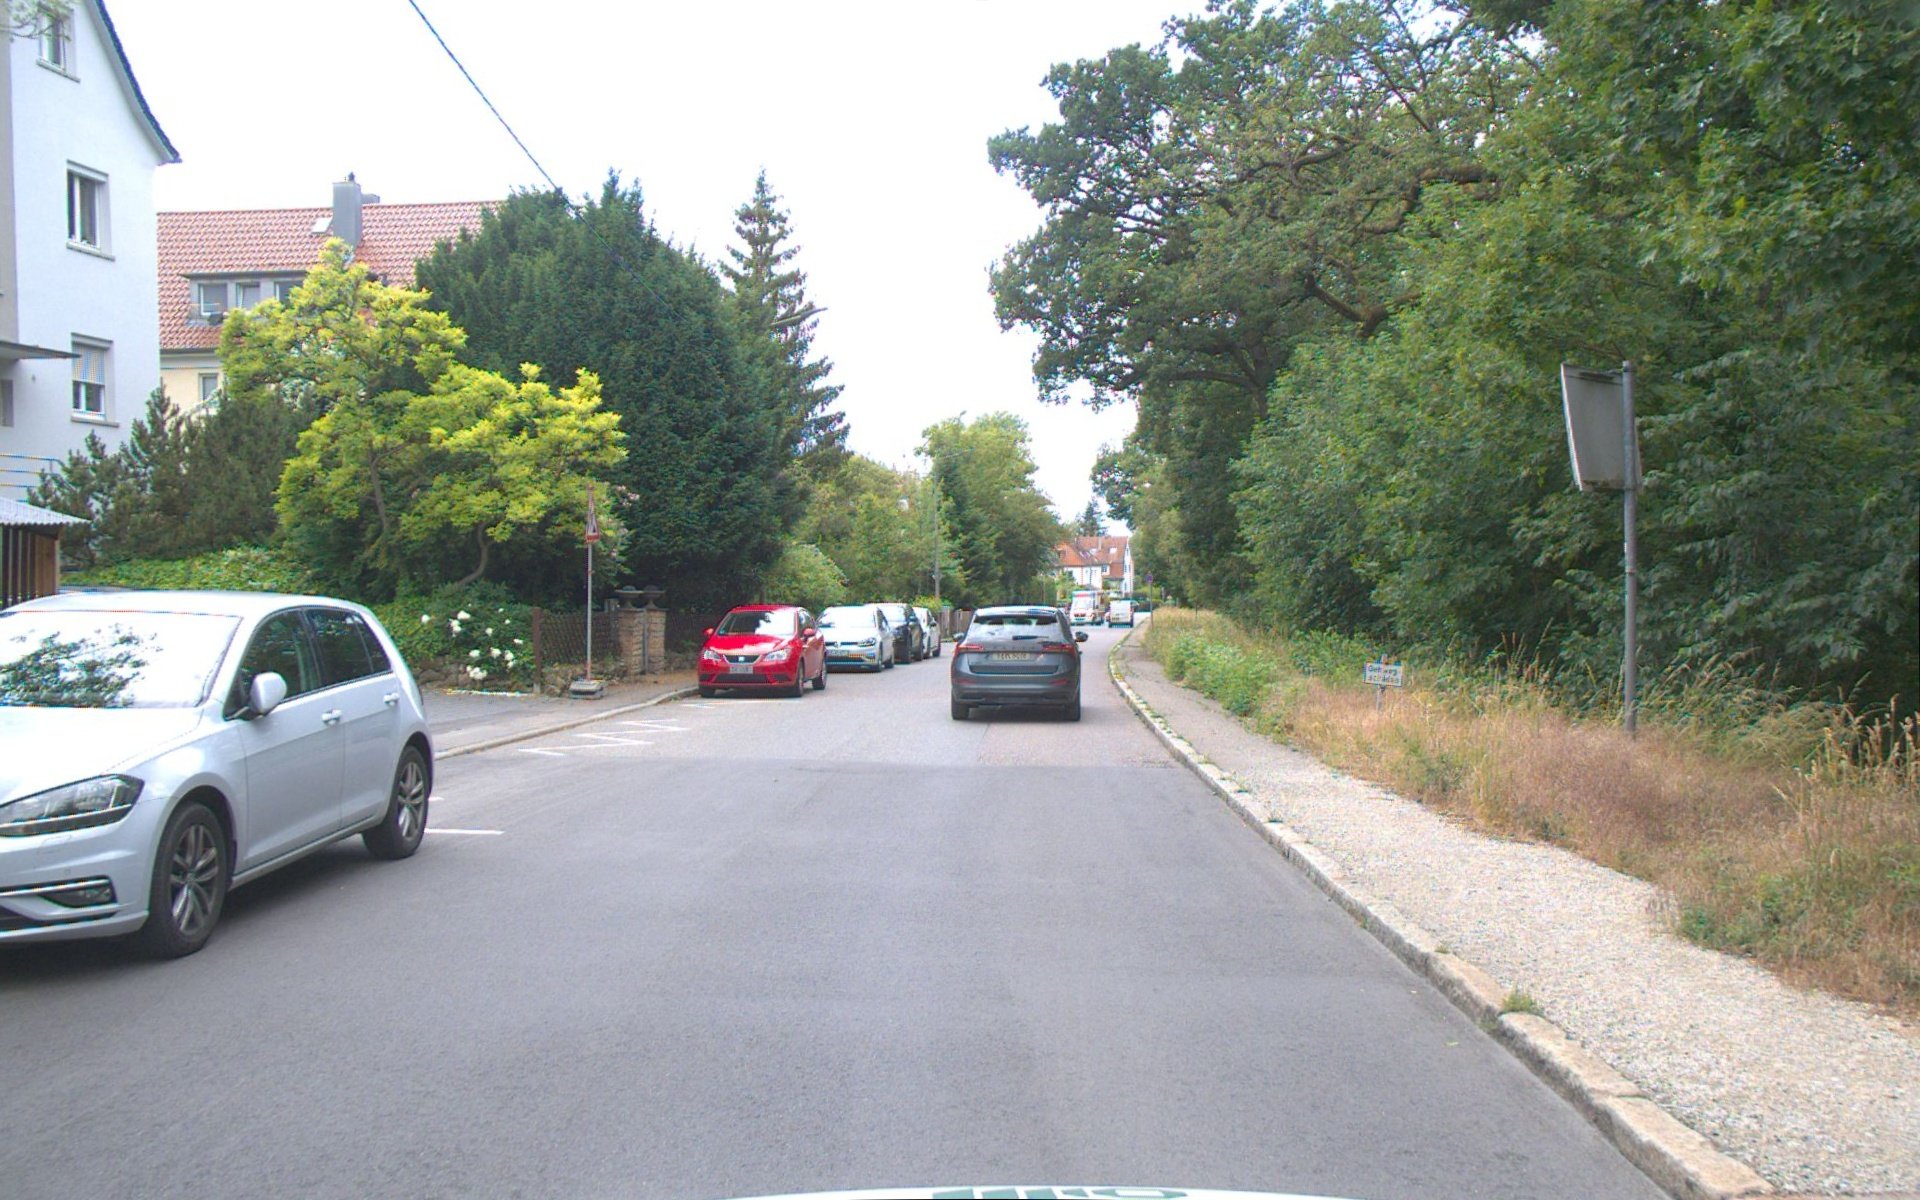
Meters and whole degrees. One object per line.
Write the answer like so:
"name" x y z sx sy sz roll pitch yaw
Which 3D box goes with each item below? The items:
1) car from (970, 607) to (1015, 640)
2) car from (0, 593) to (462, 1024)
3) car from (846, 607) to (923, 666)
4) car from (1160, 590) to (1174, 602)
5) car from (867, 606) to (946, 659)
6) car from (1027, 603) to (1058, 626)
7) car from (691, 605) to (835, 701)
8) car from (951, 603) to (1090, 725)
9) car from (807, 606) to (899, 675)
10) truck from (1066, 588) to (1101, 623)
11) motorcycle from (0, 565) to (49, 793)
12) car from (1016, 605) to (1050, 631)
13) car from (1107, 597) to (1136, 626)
"car" 1.513 1.037 75.542 1.712 1.429 4.003 1 0 6
"car" -3.844 0.728 7.852 1.670 1.493 4.076 1 0 0
"car" -1.916 0.910 43.141 1.713 1.429 4.001 1 0 1
"car" 27.070 -0.554 216.464 1.698 1.472 4.002 1 0 4
"car" -1.512 0.921 47.952 1.712 1.429 4.003 1 0 6
"car" 5.259 0.919 105.548 1.712 1.429 4.003 1 0 6
"car" -3.166 0.817 27.316 1.601 1.429 4.002 1 0 4
"car" 0.801 0.800 22.602 1.699 1.472 4.181 1 0 1
"car" -2.378 0.880 37.670 1.713 1.429 4.001 1 0 1
"truck" 10.504 0.377 140.048 2.705 2.842 9.275 0 0 6
"motorcycle" -6.815 0.520 10.077 0.793 1.511 2.897 1 0 3
"car" 4.213 1.004 95.002 1.712 1.429 4.003 1 0 6
"car" 12.221 0.811 125.336 2.159 2.100 6.139 0 0 5
